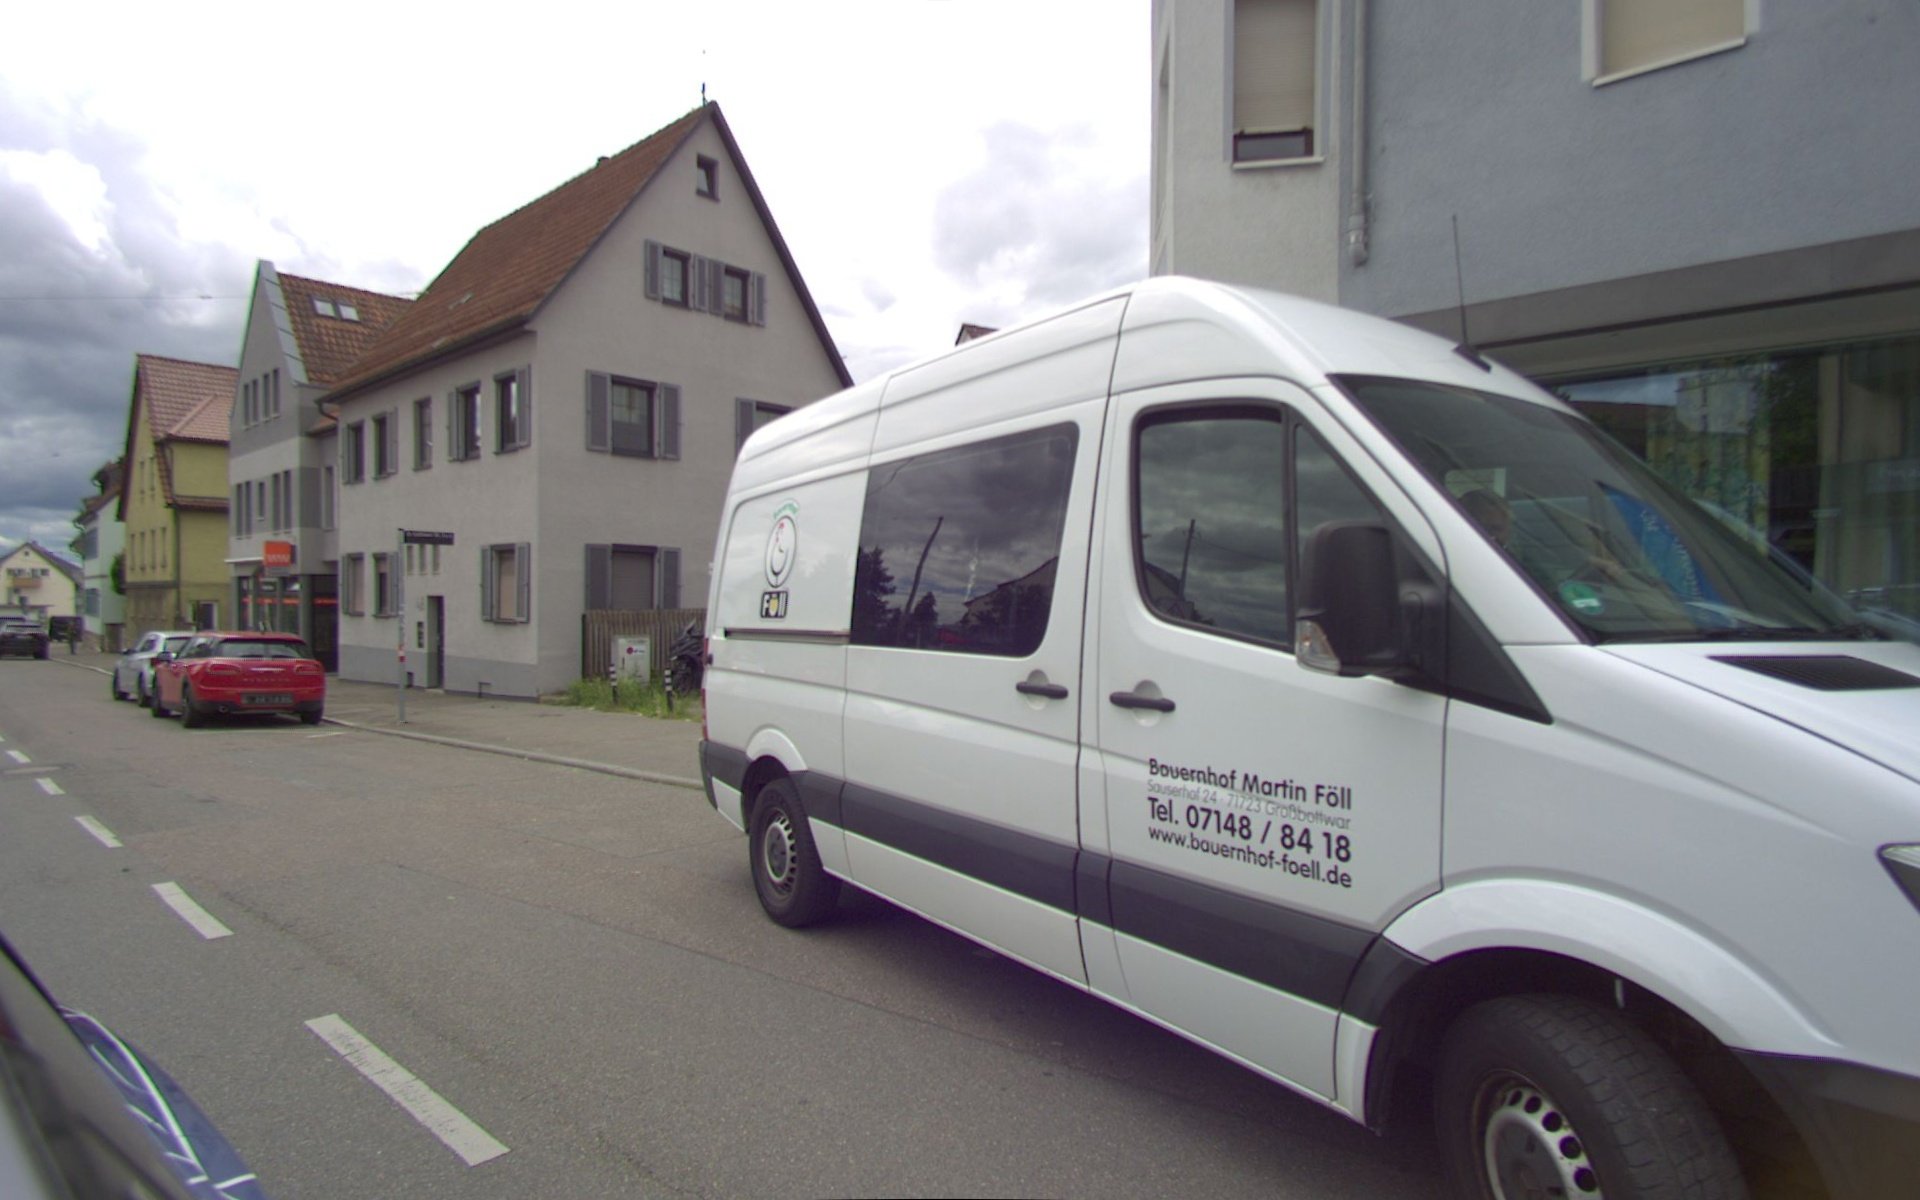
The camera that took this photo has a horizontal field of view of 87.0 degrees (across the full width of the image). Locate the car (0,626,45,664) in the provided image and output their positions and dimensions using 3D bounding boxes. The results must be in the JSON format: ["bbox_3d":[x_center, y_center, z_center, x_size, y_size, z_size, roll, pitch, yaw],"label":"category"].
[{"bbox_3d":[-41.486,1.927,44.321,4.351,1.580,1.695,-2,-2,42],"label":"car"}]

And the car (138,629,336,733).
[{"bbox_3d":[-11.969,1.253,16.642,4.353,1.485,1.838,-2,-4,44],"label":"car"}]

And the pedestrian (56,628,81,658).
[{"bbox_3d":[-42.488,2.029,48.234,0.551,1.386,0.821,-2,-2,43],"label":"pedestrian"}]

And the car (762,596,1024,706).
[{"bbox_3d":[-1.245,0.799,17.233,4.416,1.563,1.972,-2,1,44],"label":"car"}]

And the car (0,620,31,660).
[{"bbox_3d":[-46.386,1.904,48.701,4.351,1.863,2.084,-2,-2,42],"label":"car"}]

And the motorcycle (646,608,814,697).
[{"bbox_3d":[-4.069,0.896,18.041,2.786,1.485,0.839,1,-2,-31],"label":"motorcycle"}]

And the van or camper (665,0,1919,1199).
[{"bbox_3d":[0.974,0.160,4.077,2.288,2.627,6.223,0,-1,-35],"label":"van or camper"}]

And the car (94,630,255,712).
[{"bbox_3d":[-16.041,1.381,20.580,4.350,1.485,1.759,-2,-4,41],"label":"car"}]
